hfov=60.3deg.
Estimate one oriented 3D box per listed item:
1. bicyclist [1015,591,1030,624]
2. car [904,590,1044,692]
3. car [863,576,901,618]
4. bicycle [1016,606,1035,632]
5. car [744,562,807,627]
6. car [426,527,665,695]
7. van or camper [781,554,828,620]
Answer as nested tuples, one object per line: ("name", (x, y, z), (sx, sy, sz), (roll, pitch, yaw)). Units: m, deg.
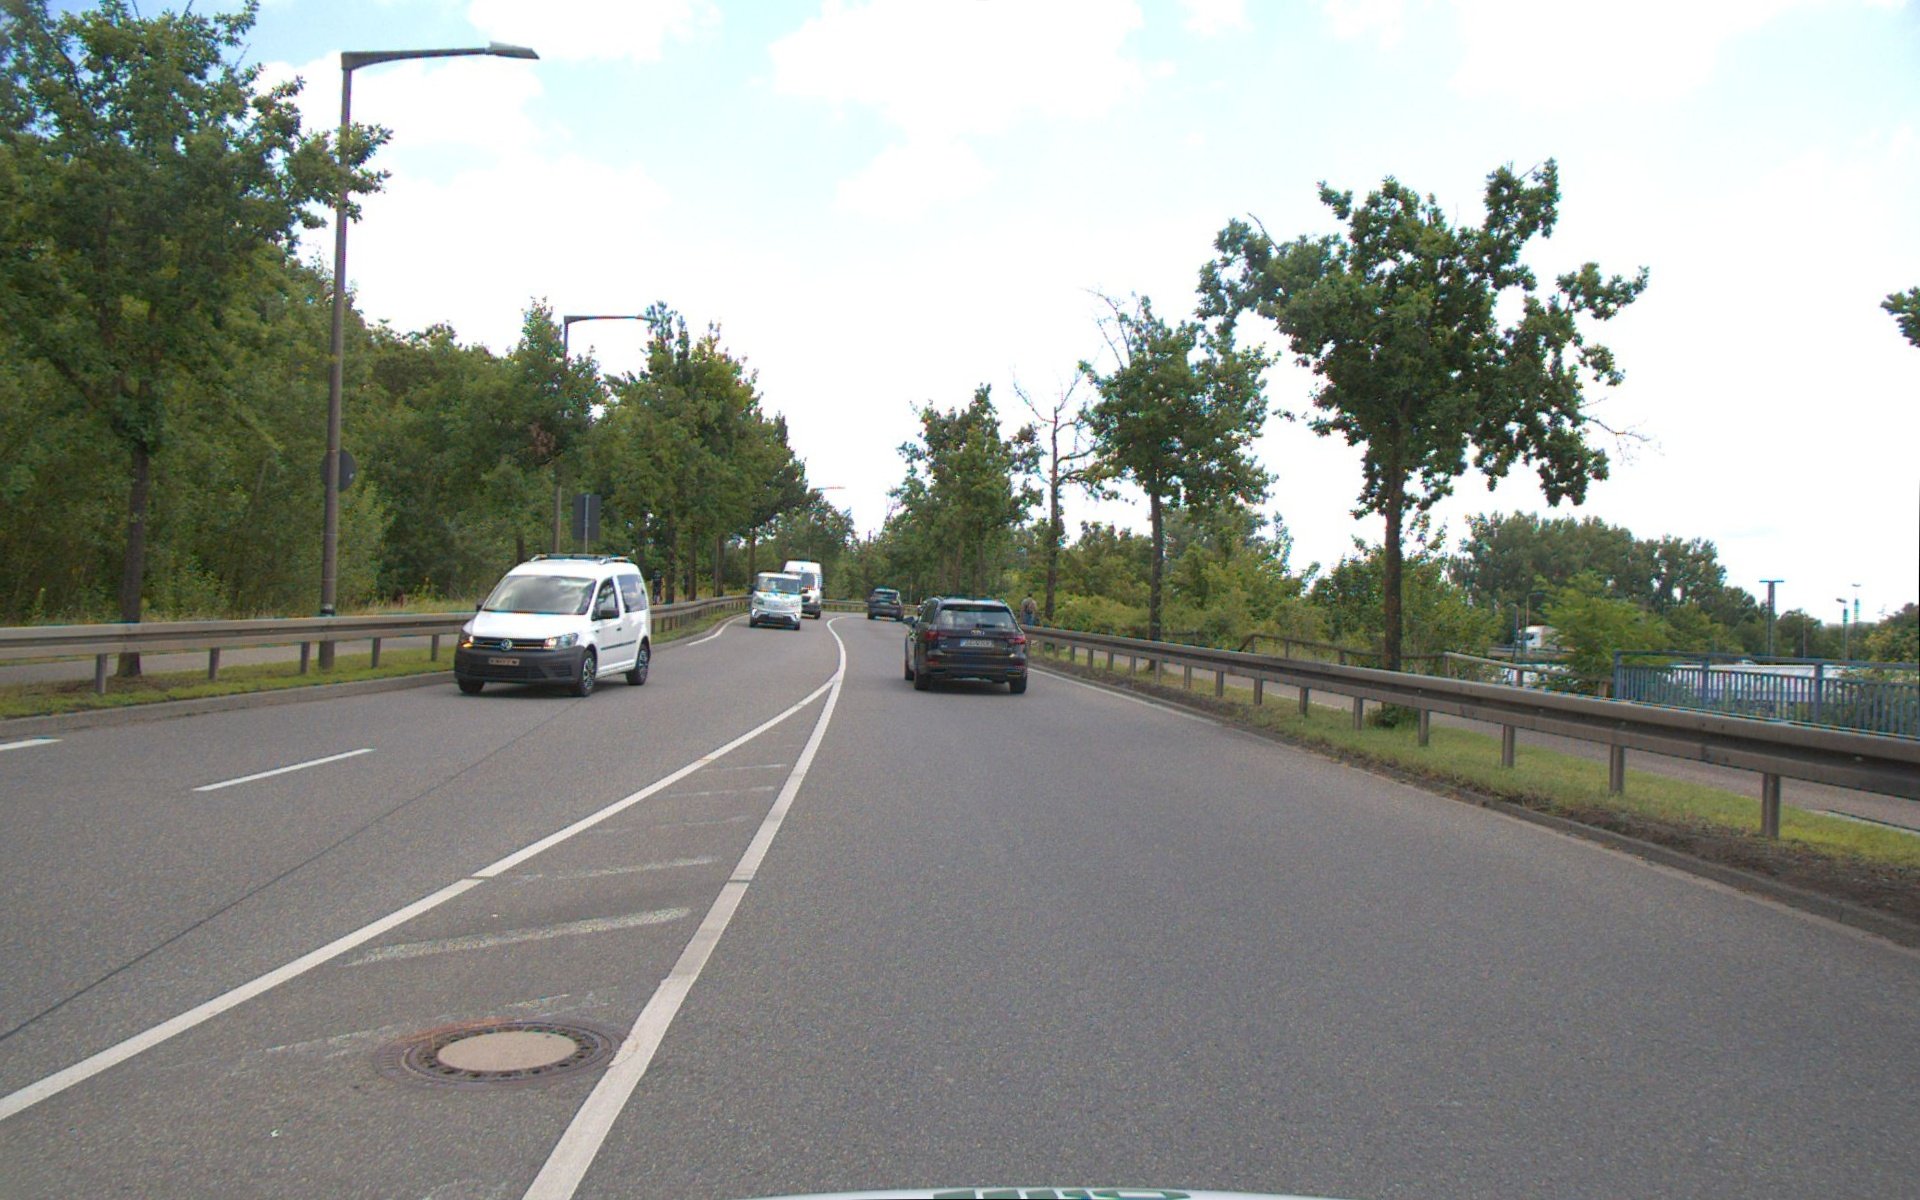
("bicyclist", (2.287, 0.291, 60.658), (0.464, 1.189, 0.827), (1, -2, -2))
("car", (0.129, 0.630, 26.918), (1.954, 1.415, 4.572), (3, -1, -3))
("car", (-4.255, -0.135, 90.411), (1.954, 2.073, 4.709), (2, -2, -3))
("bicycle", (2.398, 0.694, 60.574), (0.531, 0.881, 1.749), (4, -2, -1))
("car", (-6.423, -0.152, 57.732), (1.955, 2.049, 4.449), (4, -1, -6))
("car", (-5.696, 0.120, 23.383), (1.952, 2.048, 4.560), (3, 0, 3))
("van or camper", (-7.317, -0.560, 78.048), (1.955, 2.798, 5.379), (4, -2, -5))
